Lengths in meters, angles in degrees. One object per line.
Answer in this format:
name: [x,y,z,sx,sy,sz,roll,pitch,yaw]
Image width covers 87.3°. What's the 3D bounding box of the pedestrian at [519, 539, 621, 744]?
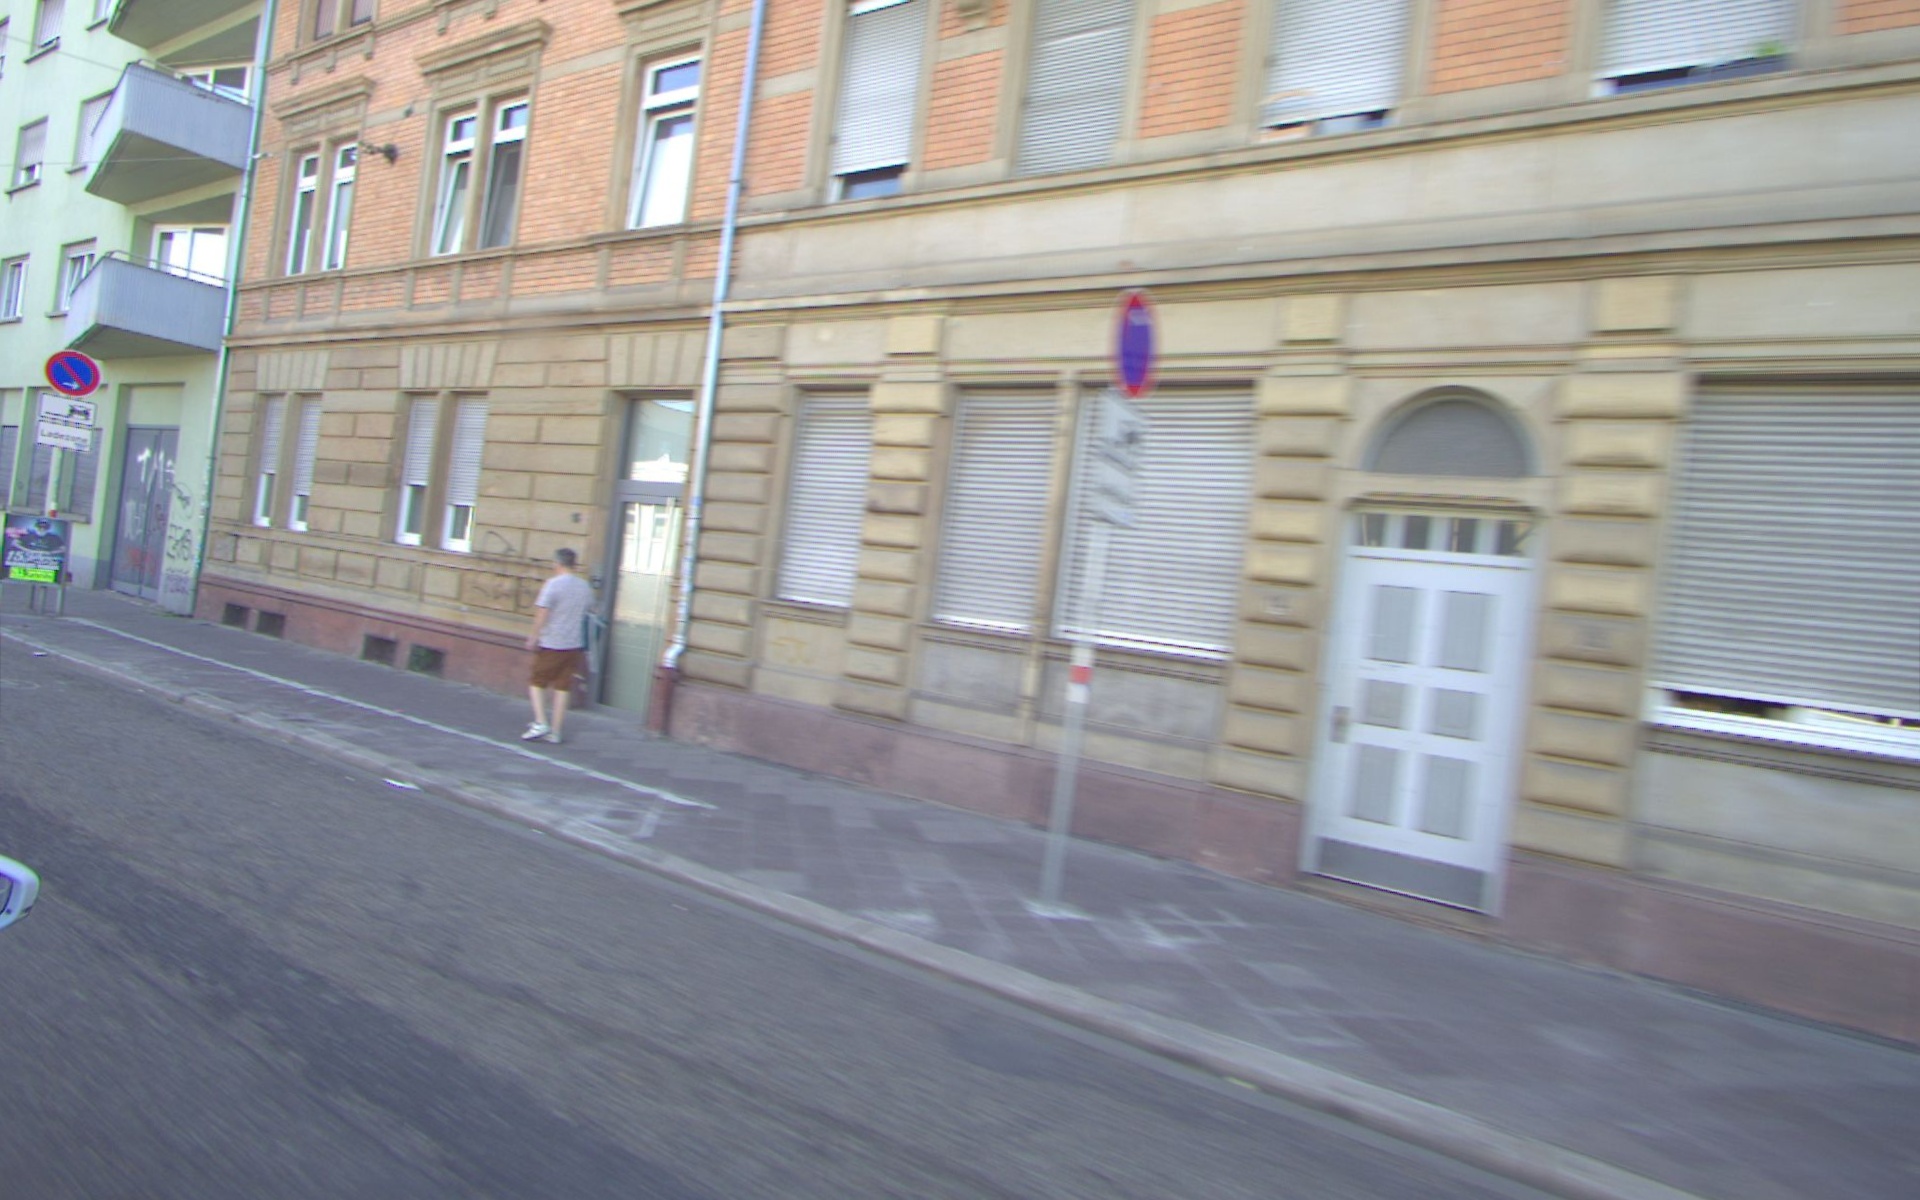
pedestrian: [-3.421,0.364,8.822,0.467,1.722,0.551,7,2,43]
